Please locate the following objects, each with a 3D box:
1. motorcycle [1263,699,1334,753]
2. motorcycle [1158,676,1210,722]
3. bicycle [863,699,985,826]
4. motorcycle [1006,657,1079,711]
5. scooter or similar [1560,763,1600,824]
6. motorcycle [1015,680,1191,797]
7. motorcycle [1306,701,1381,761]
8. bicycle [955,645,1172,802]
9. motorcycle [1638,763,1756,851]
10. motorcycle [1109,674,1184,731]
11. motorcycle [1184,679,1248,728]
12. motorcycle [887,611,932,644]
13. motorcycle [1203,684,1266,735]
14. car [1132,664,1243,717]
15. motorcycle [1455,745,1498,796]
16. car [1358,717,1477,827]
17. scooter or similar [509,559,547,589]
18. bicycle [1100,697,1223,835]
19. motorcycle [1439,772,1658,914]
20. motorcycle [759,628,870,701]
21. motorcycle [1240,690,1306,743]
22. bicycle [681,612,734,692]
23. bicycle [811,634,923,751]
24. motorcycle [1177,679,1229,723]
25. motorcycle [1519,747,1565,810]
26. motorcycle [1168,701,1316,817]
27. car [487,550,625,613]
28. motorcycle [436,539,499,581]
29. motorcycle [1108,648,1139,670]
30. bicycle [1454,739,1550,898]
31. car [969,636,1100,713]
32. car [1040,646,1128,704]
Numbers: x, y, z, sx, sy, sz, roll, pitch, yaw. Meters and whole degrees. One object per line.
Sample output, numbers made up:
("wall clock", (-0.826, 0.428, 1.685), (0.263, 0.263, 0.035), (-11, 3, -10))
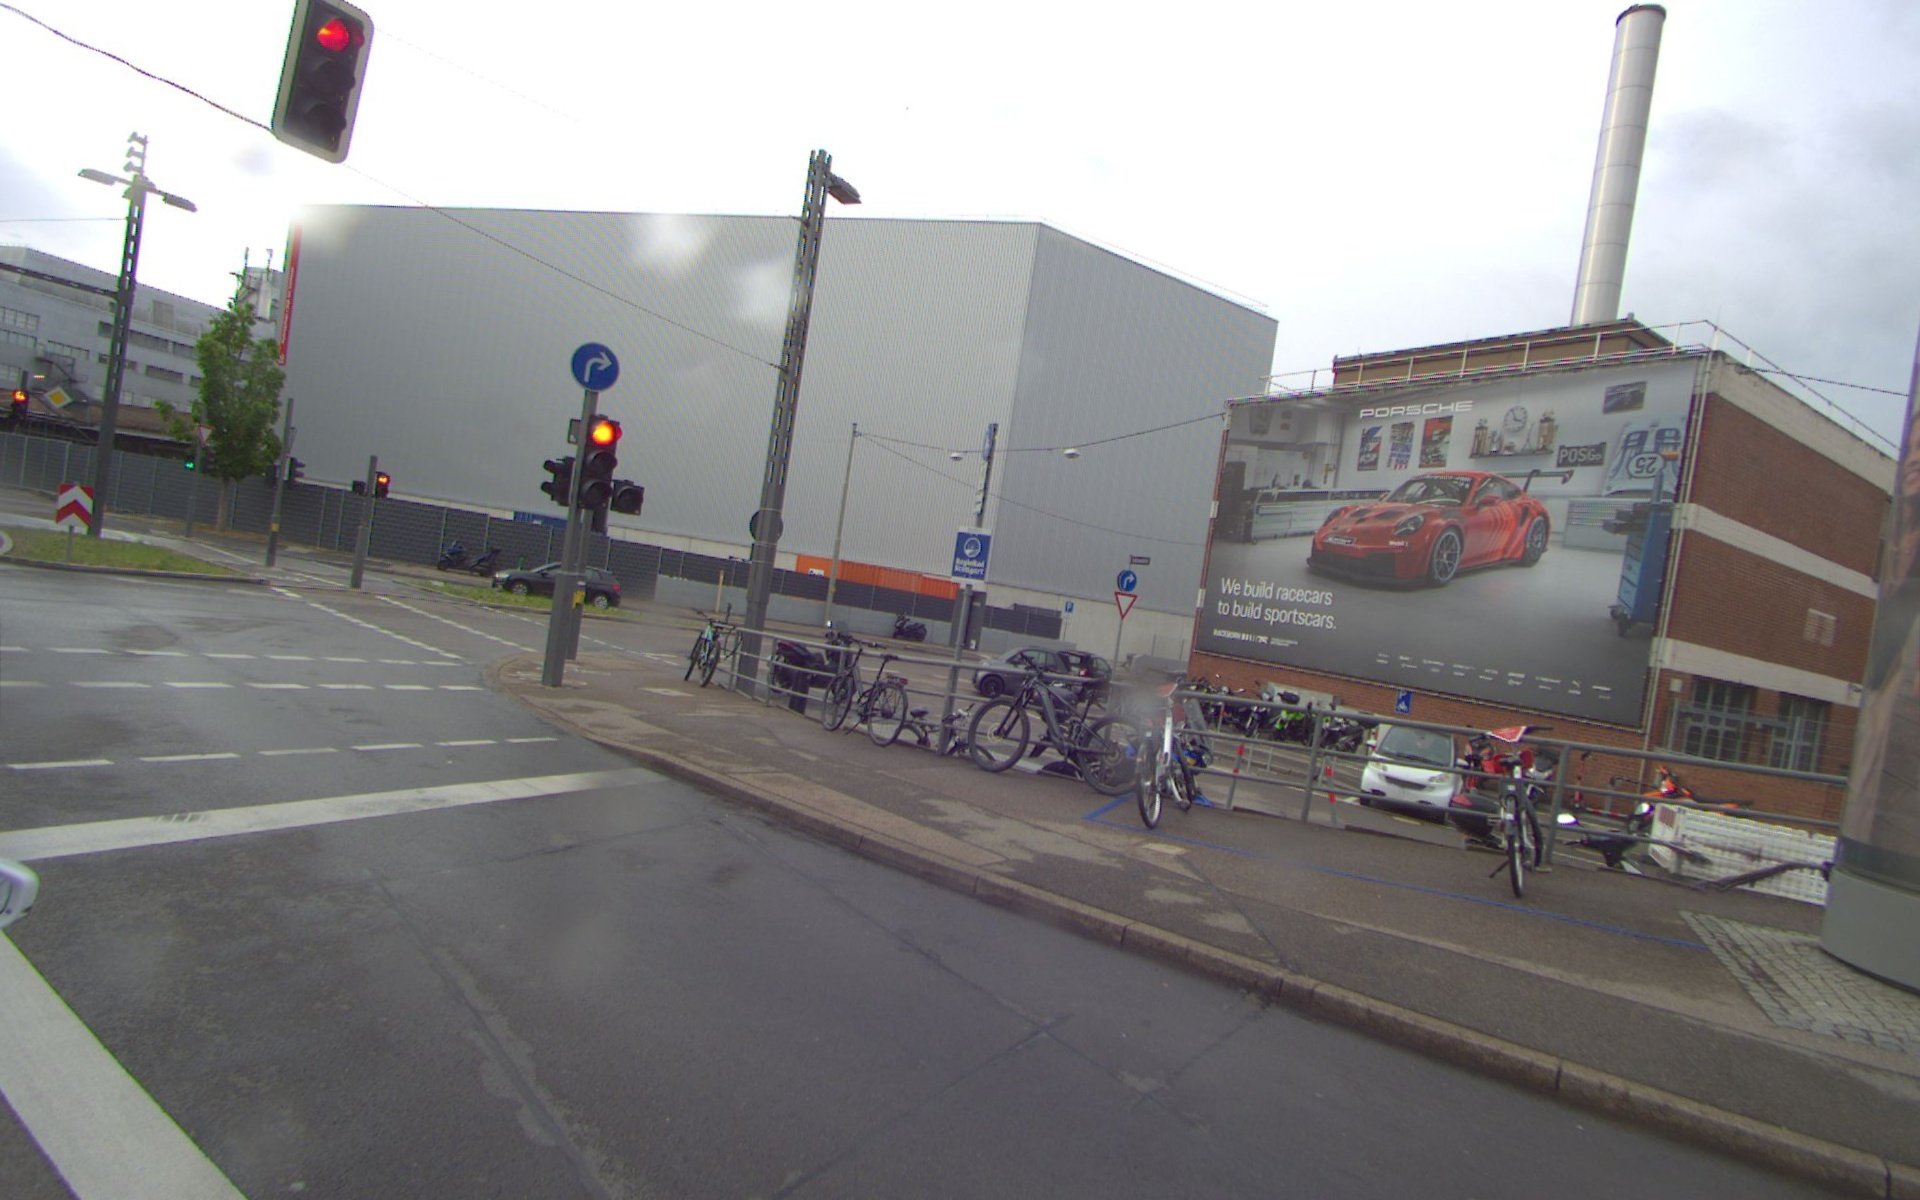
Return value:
("motorcycle", (8.417, 3.138, 24.985), (1.789, 1.132, 0.474), (8, -2, -28))
("motorcycle", (6.640, 2.925, 29.831), (0.538, 1.133, 1.593), (8, -2, -25))
("bicycle", (-0.435, 1.757, 11.136), (0.344, 1.097, 1.728), (7, -1, -35))
("motorcycle", (2.105, 2.137, 25.638), (1.702, 1.159, 0.492), (8, -2, -24))
("scooter or similar", (12.888, 3.994, 20.881), (0.496, 1.109, 1.635), (6, -2, 36))
("motorcycle", (1.427, 1.384, 10.310), (1.722, 0.906, 0.545), (6, -1, 44))
("motorcycle", (9.331, 3.201, 24.439), (1.788, 1.253, 0.540), (8, 1, -30))
("bicycle", (0.965, 1.148, 9.712), (1.981, 1.189, 0.400), (6, 0, 30))
("motorcycle", (14.179, 3.973, 19.392), (1.639, 1.349, 0.524), (6, -1, 21))
("motorcycle", (4.469, 2.444, 24.249), (0.539, 1.123, 1.850), (8, -2, -32))
("motorcycle", (7.259, 2.928, 28.508), (1.631, 1.194, 0.670), (8, -2, -30))
("motorcycle", (-2.605, 1.411, 51.800), (2.082, 1.393, 0.649), (10, 0, -33))
("motorcycle", (7.416, 2.959, 27.141), (1.631, 1.194, 0.541), (8, -2, -30))
("car", (8.369, 3.337, 36.906), (4.070, 1.460, 1.554), (9, -2, -35))
("motorcycle", (11.307, 3.710, 22.000), (0.533, 0.984, 1.613), (6, -2, 36))
("car", (8.590, 3.085, 18.714), (1.541, 1.506, 3.996), (8, -1, 29))
("scooter or similar", (-17.867, -1.075, 41.629), (1.247, 1.041, 0.385), (9, 0, 0))
("bicycle", (1.725, 1.327, 8.409), (0.414, 0.973, 1.744), (6, -1, 29))
("motorcycle", (5.076, 2.083, 8.757), (1.512, 0.901, 0.403), (6, 0, 19))
("motorcycle", (-2.624, 1.202, 18.380), (0.481, 1.158, 2.086), (6, -3, 41))
("motorcycle", (8.180, 3.055, 26.287), (1.695, 1.194, 0.541), (8, -2, -30))
("bicycle", (-4.097, 0.804, 16.224), (0.416, 1.143, 2.064), (7, -2, -22))
("bicycle", (-1.087, 1.013, 11.369), (0.344, 1.097, 1.728), (7, -1, -35))
("motorcycle", (7.381, 3.069, 30.628), (0.538, 1.123, 1.639), (8, -2, -25))
("motorcycle", (12.348, 3.758, 21.328), (0.576, 1.165, 1.717), (6, -2, 36))
("motorcycle", (2.725, 1.513, 9.730), (1.241, 0.901, 0.434), (6, 0, 23))
("car", (-13.480, -0.600, 33.595), (3.958, 1.442, 1.707), (9, -1, -30))
("motorcycle", (-19.827, -1.601, 40.498), (2.082, 1.326, 0.649), (10, 0, -33))
("motorcycle", (10.373, 3.769, 63.957), (0.622, 1.088, 1.906), (8, 0, -38))
("bicycle", (4.040, 1.553, 7.446), (0.414, 0.933, 1.613), (8, 0, 32))
("car", (1.972, 2.011, 27.385), (3.190, 1.521, 1.624), (9, 0, -4))
("car", (4.121, 2.490, 33.273), (1.530, 1.510, 2.745), (11, 0, 37))
